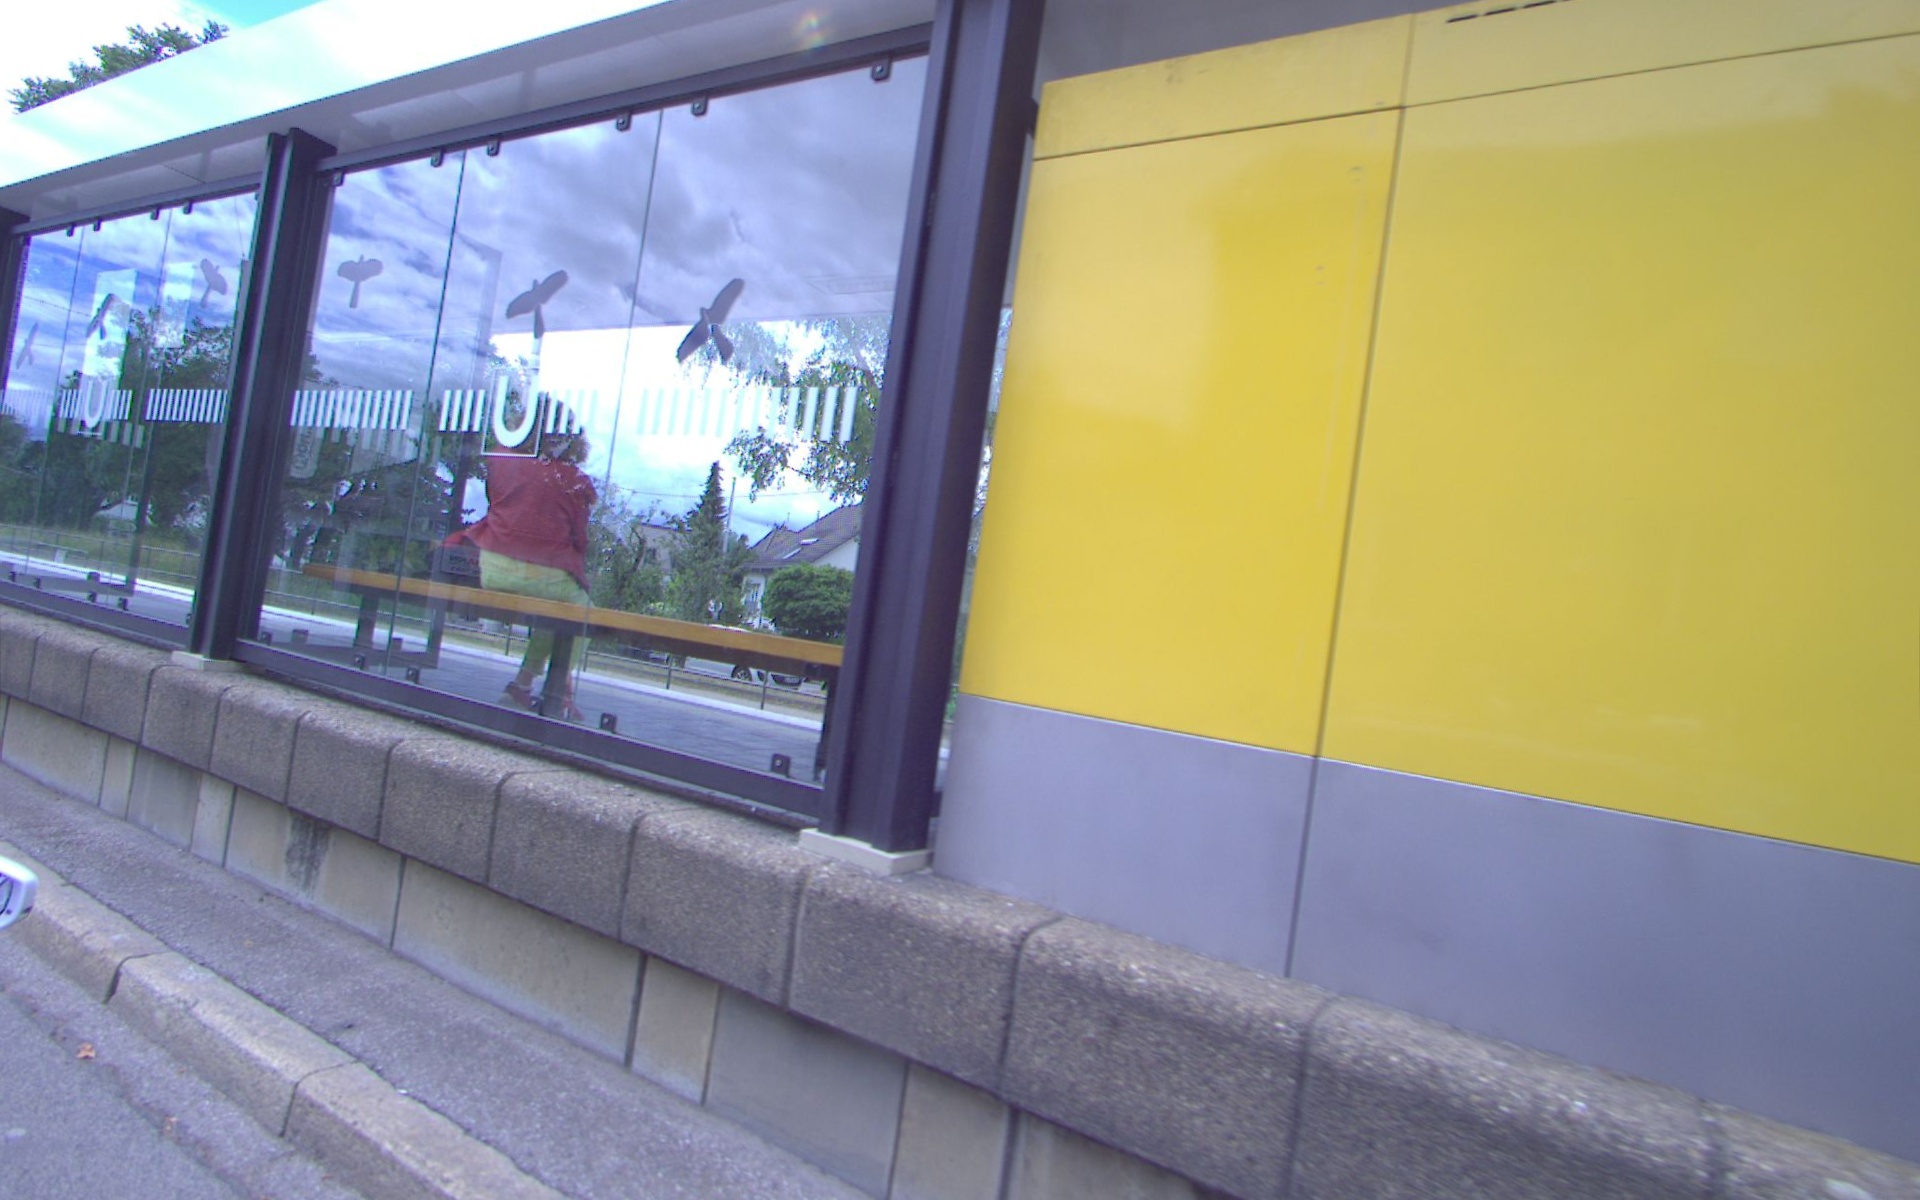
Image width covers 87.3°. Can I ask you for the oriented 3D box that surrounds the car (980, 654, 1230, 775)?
[{"bbox_3d":[2.792,2.177,19.573,4.191,1.591,2.068,7,-3,33],"label":"car"}]

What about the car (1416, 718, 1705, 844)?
[{"bbox_3d":[12.476,3.726,21.182,1.811,1.654,4.784,10,-3,-41],"label":"car"}]

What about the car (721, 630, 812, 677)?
[{"bbox_3d":[-8.207,2.260,42.581,3.850,1.505,1.754,5,-4,44],"label":"car"}]

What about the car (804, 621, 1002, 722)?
[{"bbox_3d":[-1.292,1.565,22.203,3.935,1.591,1.734,7,-3,33],"label":"car"}]

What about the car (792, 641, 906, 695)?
[{"bbox_3d":[-4.322,2.576,38.607,1.753,1.505,4.639,9,-4,-44],"label":"car"}]

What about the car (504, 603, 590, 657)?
[{"bbox_3d":[-14.132,0.973,34.293,1.746,1.503,4.466,10,-5,-33],"label":"car"}]

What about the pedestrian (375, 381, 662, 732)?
[{"bbox_3d":[-1.814,-0.166,4.174,0.707,1.313,0.622,7,-2,28],"label":"pedestrian"}]

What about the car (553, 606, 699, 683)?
[{"bbox_3d":[-9.347,1.200,27.962,4.443,1.504,1.839,6,-3,44],"label":"car"}]

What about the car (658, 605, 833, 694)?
[{"bbox_3d":[-5.358,1.216,24.988,4.033,1.591,1.760,7,-3,33],"label":"car"}]
